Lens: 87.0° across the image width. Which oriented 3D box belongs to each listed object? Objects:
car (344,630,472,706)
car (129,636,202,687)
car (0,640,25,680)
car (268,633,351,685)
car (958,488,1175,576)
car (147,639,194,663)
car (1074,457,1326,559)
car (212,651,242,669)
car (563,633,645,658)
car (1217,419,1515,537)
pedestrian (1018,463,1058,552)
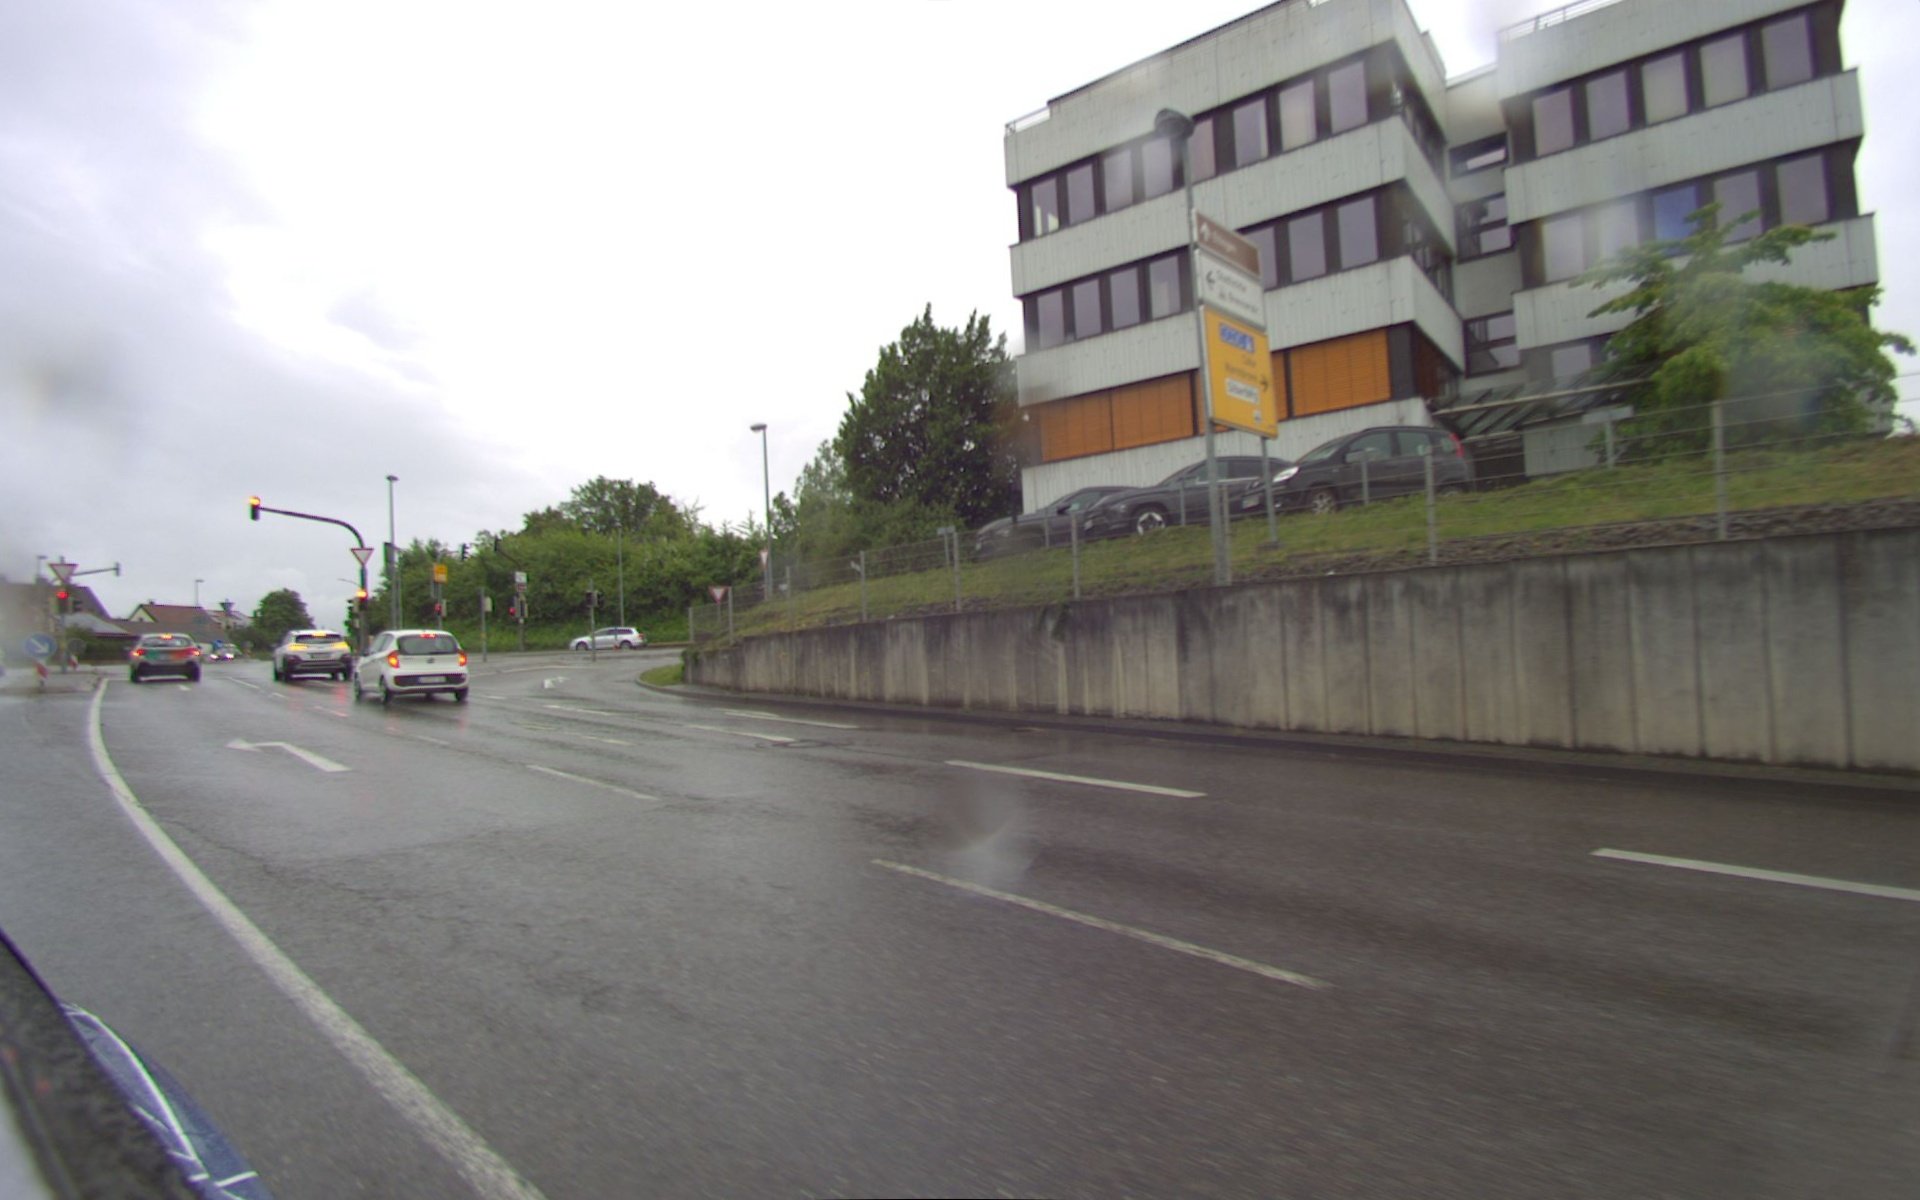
[{"bbox_3d":[-11.925,1.435,21.763,1.632,1.440,3.798,0,-2,-41],"label":"car"},{"bbox_3d":[-25.253,1.906,32.120,1.640,1.506,4.006,2,-3,-40],"label":"car"},{"bbox_3d":[-36.717,2.265,37.571,1.867,1.494,4.012,-1,-3,-26],"label":"car"},{"bbox_3d":[-20.705,1.840,32.156,1.698,1.506,4.006,0,-2,-40],"label":"car"},{"bbox_3d":[2.124,-1.370,20.636,3.933,1.598,1.907,-2,0,-14],"label":"car"},{"bbox_3d":[-82.028,5.236,105.197,1.632,2.368,3.996,-2,-2,3],"label":"car"},{"bbox_3d":[4.265,-1.632,18.295,3.935,1.598,1.906,-2,0,-10],"label":"car"},{"bbox_3d":[-67.269,5.473,92.941,1.728,1.568,3.931,-1,-2,-29],"label":"car"},{"bbox_3d":[-21.785,2.768,62.072,4.463,1.373,1.765,-2,-2,-5],"label":"car"},{"bbox_3d":[6.400,-1.914,16.170,3.935,1.598,1.906,-2,0,-10],"label":"car"},{"bbox_3d":[1.411,-1.672,18.418,0.511,1.562,0.504,-1,-2,-23],"label":"pedestrian"}]
